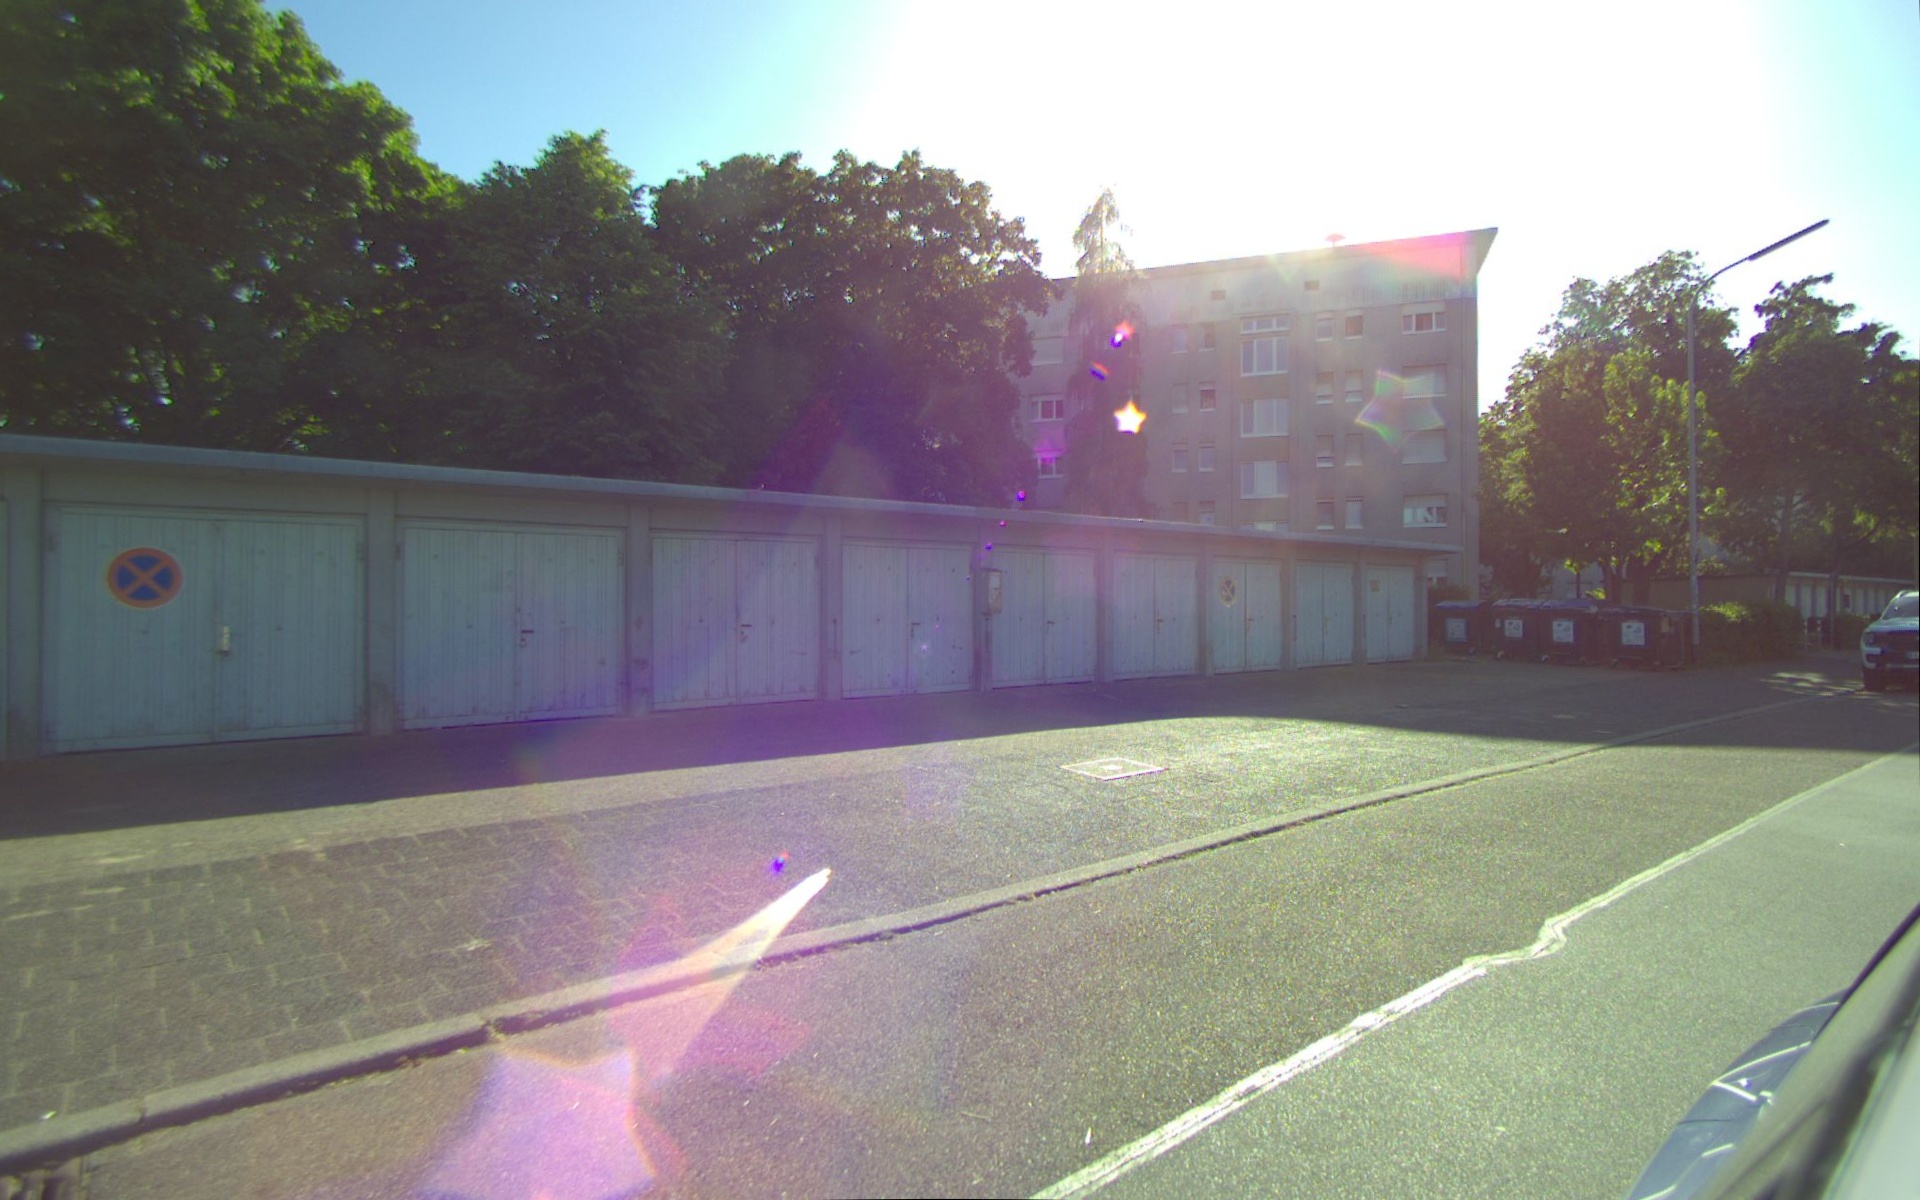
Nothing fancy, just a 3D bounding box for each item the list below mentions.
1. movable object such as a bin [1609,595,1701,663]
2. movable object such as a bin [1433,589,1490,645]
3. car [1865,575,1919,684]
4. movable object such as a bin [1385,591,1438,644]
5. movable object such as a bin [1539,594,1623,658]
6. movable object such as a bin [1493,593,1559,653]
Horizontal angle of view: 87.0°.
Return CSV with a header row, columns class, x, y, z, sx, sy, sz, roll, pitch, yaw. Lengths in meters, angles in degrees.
class,x,y,z,sx,sy,sz,roll,pitch,yaw
movable object such as a bin,14.661,0.594,21.371,1.031,1.364,1.256,-1,0,-27
movable object such as a bin,13.417,0.440,27.087,0.817,1.435,1.080,-1,0,-33
car,18.571,0.513,18.721,5.179,1.864,1.910,1,-3,-40
movable object such as a bin,12.621,0.473,28.296,0.817,1.435,1.080,-1,0,-33
movable object such as a bin,14.065,0.564,22.934,1.031,1.364,1.256,-1,0,-27
movable object such as a bin,13.532,0.531,24.213,0.847,1.364,1.081,-1,0,-27
